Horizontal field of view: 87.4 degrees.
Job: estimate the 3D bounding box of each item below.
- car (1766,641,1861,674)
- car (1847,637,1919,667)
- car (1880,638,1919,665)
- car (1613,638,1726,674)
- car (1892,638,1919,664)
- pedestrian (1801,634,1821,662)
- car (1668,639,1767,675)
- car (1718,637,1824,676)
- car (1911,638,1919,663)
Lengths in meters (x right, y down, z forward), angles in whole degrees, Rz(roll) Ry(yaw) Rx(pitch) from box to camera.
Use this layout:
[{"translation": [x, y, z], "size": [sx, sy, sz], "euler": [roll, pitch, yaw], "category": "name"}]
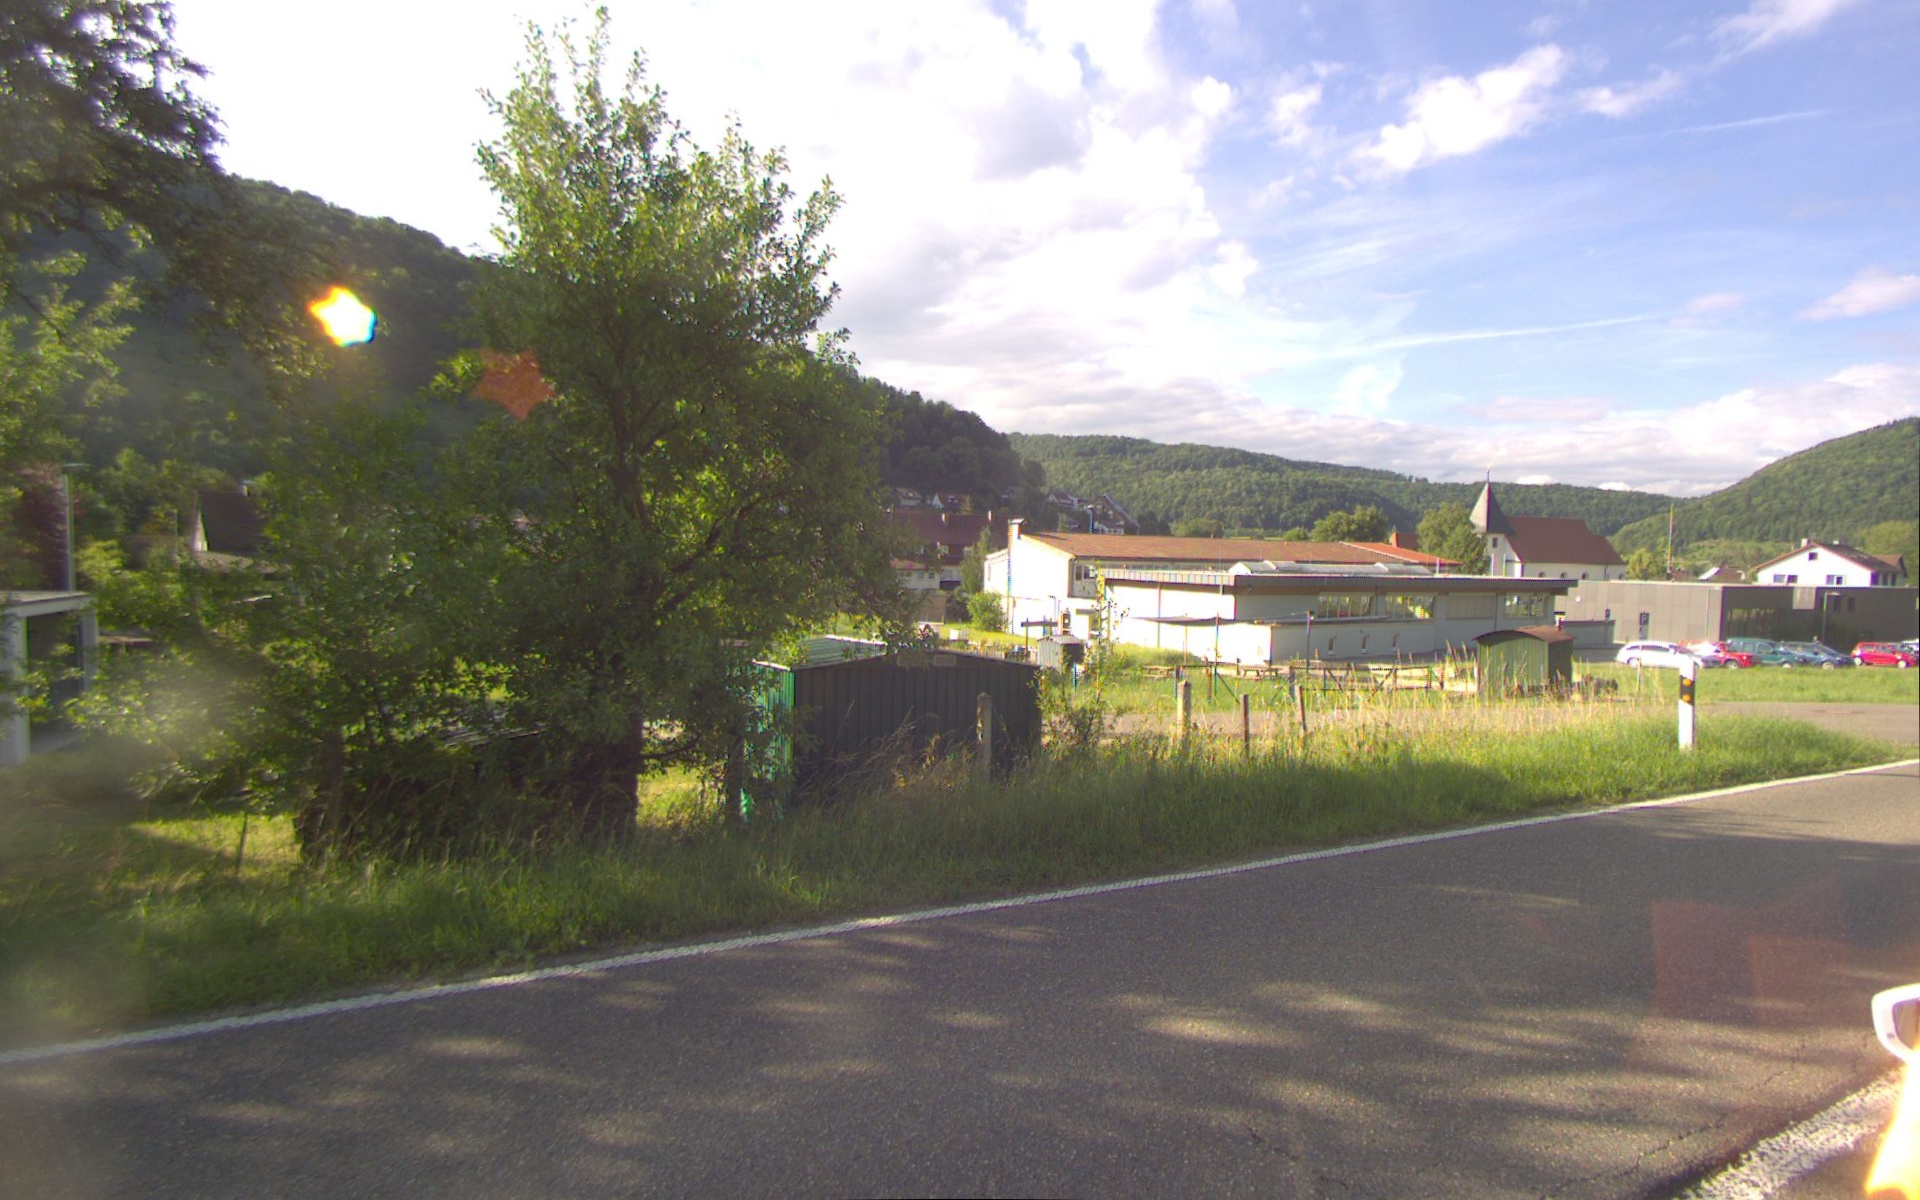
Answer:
[{"translation": [51.349, 3.458, 60.513], "size": [1.978, 1.733, 3.965], "euler": [2, 0, -32], "category": "car"}, {"translation": [60.435, 3.342, 65.107], "size": [1.978, 1.733, 3.965], "euler": [2, 0, -32], "category": "car"}, {"translation": [64.446, 3.479, 67.136], "size": [1.978, 1.733, 3.965], "euler": [2, 0, -32], "category": "car"}, {"translation": [39.101, 3.049, 55.481], "size": [1.978, 1.733, 4.705], "euler": [2, 0, -32], "category": "car"}, {"translation": [67.325, 3.581, 69.393], "size": [1.978, 1.733, 3.965], "euler": [2, 0, -32], "category": "car"}, {"translation": [62.066, 3.499, 73.269], "size": [0.962, 2.040, 0.821], "euler": [2, 0, -30], "category": "pedestrian"}, {"translation": [42.203, 3.148, 56.008], "size": [1.978, 1.733, 3.965], "euler": [2, 0, -32], "category": "car"}, {"translation": [47.296, 3.252, 58.658], "size": [1.978, 2.034, 4.382], "euler": [2, 0, -32], "category": "car"}, {"translation": [70.166, 3.678, 70.957], "size": [1.978, 1.733, 3.965], "euler": [2, 0, -32], "category": "car"}]
